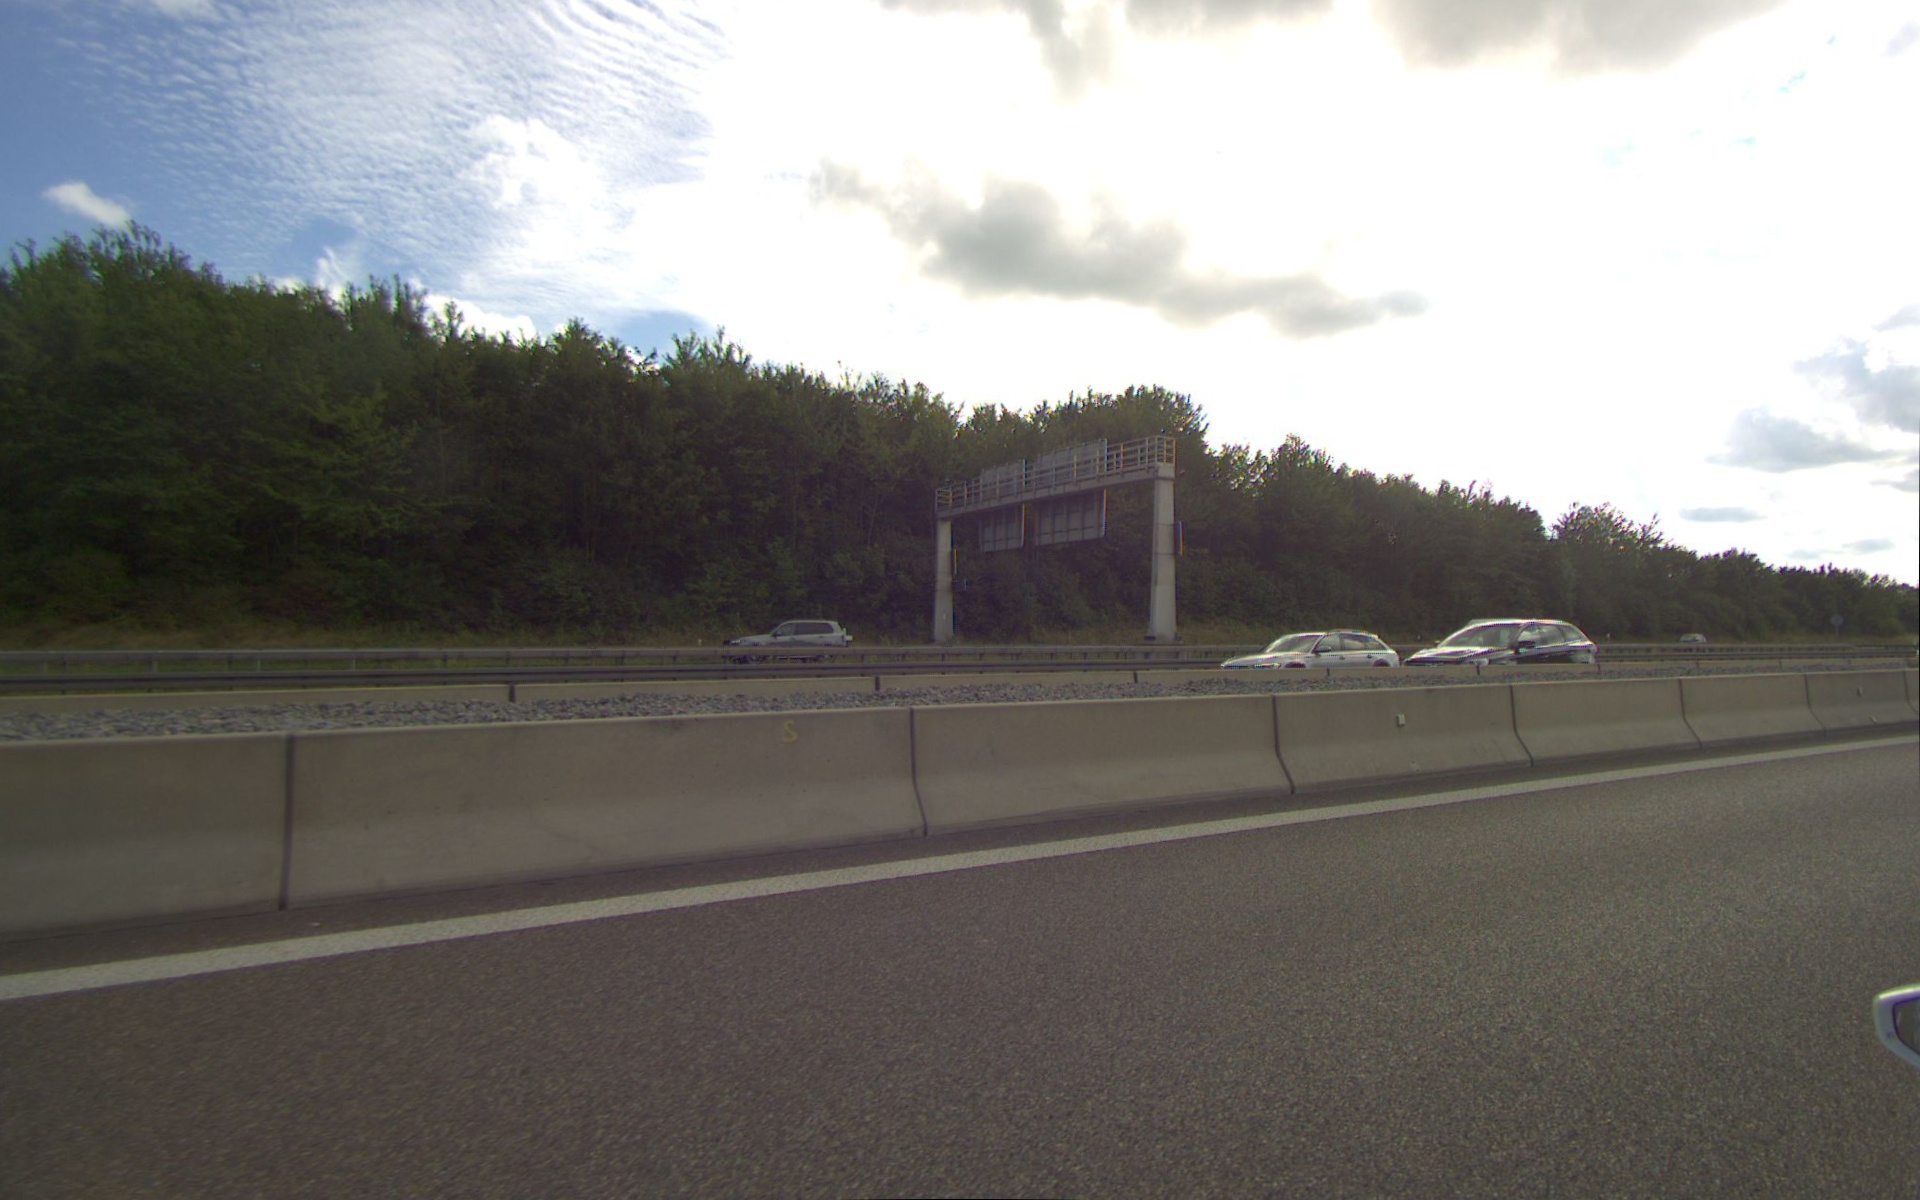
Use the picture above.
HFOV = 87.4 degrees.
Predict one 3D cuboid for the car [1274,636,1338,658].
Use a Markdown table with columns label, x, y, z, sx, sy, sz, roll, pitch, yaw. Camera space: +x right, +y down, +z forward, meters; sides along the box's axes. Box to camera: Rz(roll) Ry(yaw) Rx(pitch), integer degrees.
| label | x | y | z | sx | sy | sz | roll | pitch | yaw |
| --- | --- | --- | --- | --- | --- | --- | --- | --- | --- |
| car | 20.014 | 2.711 | 58.108 | 3.717 | 1.234 | 1.458 | 1 | -1 | -31 |

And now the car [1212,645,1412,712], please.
| label | x | y | z | sx | sy | sz | roll | pitch | yaw |
| --- | --- | --- | --- | --- | --- | --- | --- | --- | --- |
| car | 8.023 | 1.709 | 22.778 | 4.621 | 1.312 | 1.762 | 1 | 0 | -31 |

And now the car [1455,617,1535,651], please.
| label | x | y | z | sx | sy | sz | roll | pitch | yaw |
| --- | --- | --- | --- | --- | --- | --- | --- | --- | --- |
| car | 36.178 | 2.293 | 67.904 | 5.819 | 2.264 | 1.985 | 1 | -1 | -29 |

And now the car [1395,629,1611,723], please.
| label | x | y | z | sx | sy | sz | roll | pitch | yaw |
| --- | --- | --- | --- | --- | --- | --- | --- | --- | --- |
| car | 10.775 | 1.416 | 19.866 | 4.414 | 1.632 | 1.763 | 1 | 0 | -31 |

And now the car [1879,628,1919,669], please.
| label | x | y | z | sx | sy | sz | roll | pitch | yaw |
| --- | --- | --- | --- | --- | --- | --- | --- | --- | --- |
| car | 40.635 | 2.023 | 42.370 | 4.412 | 1.632 | 1.586 | 1 | 0 | -31 |

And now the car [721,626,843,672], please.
| label | x | y | z | sx | sy | sz | roll | pitch | yaw |
| --- | --- | --- | --- | --- | --- | --- | --- | --- | --- |
| car | -7.098 | 1.928 | 40.114 | 4.460 | 1.750 | 1.788 | 1 | -2 | -31 |
